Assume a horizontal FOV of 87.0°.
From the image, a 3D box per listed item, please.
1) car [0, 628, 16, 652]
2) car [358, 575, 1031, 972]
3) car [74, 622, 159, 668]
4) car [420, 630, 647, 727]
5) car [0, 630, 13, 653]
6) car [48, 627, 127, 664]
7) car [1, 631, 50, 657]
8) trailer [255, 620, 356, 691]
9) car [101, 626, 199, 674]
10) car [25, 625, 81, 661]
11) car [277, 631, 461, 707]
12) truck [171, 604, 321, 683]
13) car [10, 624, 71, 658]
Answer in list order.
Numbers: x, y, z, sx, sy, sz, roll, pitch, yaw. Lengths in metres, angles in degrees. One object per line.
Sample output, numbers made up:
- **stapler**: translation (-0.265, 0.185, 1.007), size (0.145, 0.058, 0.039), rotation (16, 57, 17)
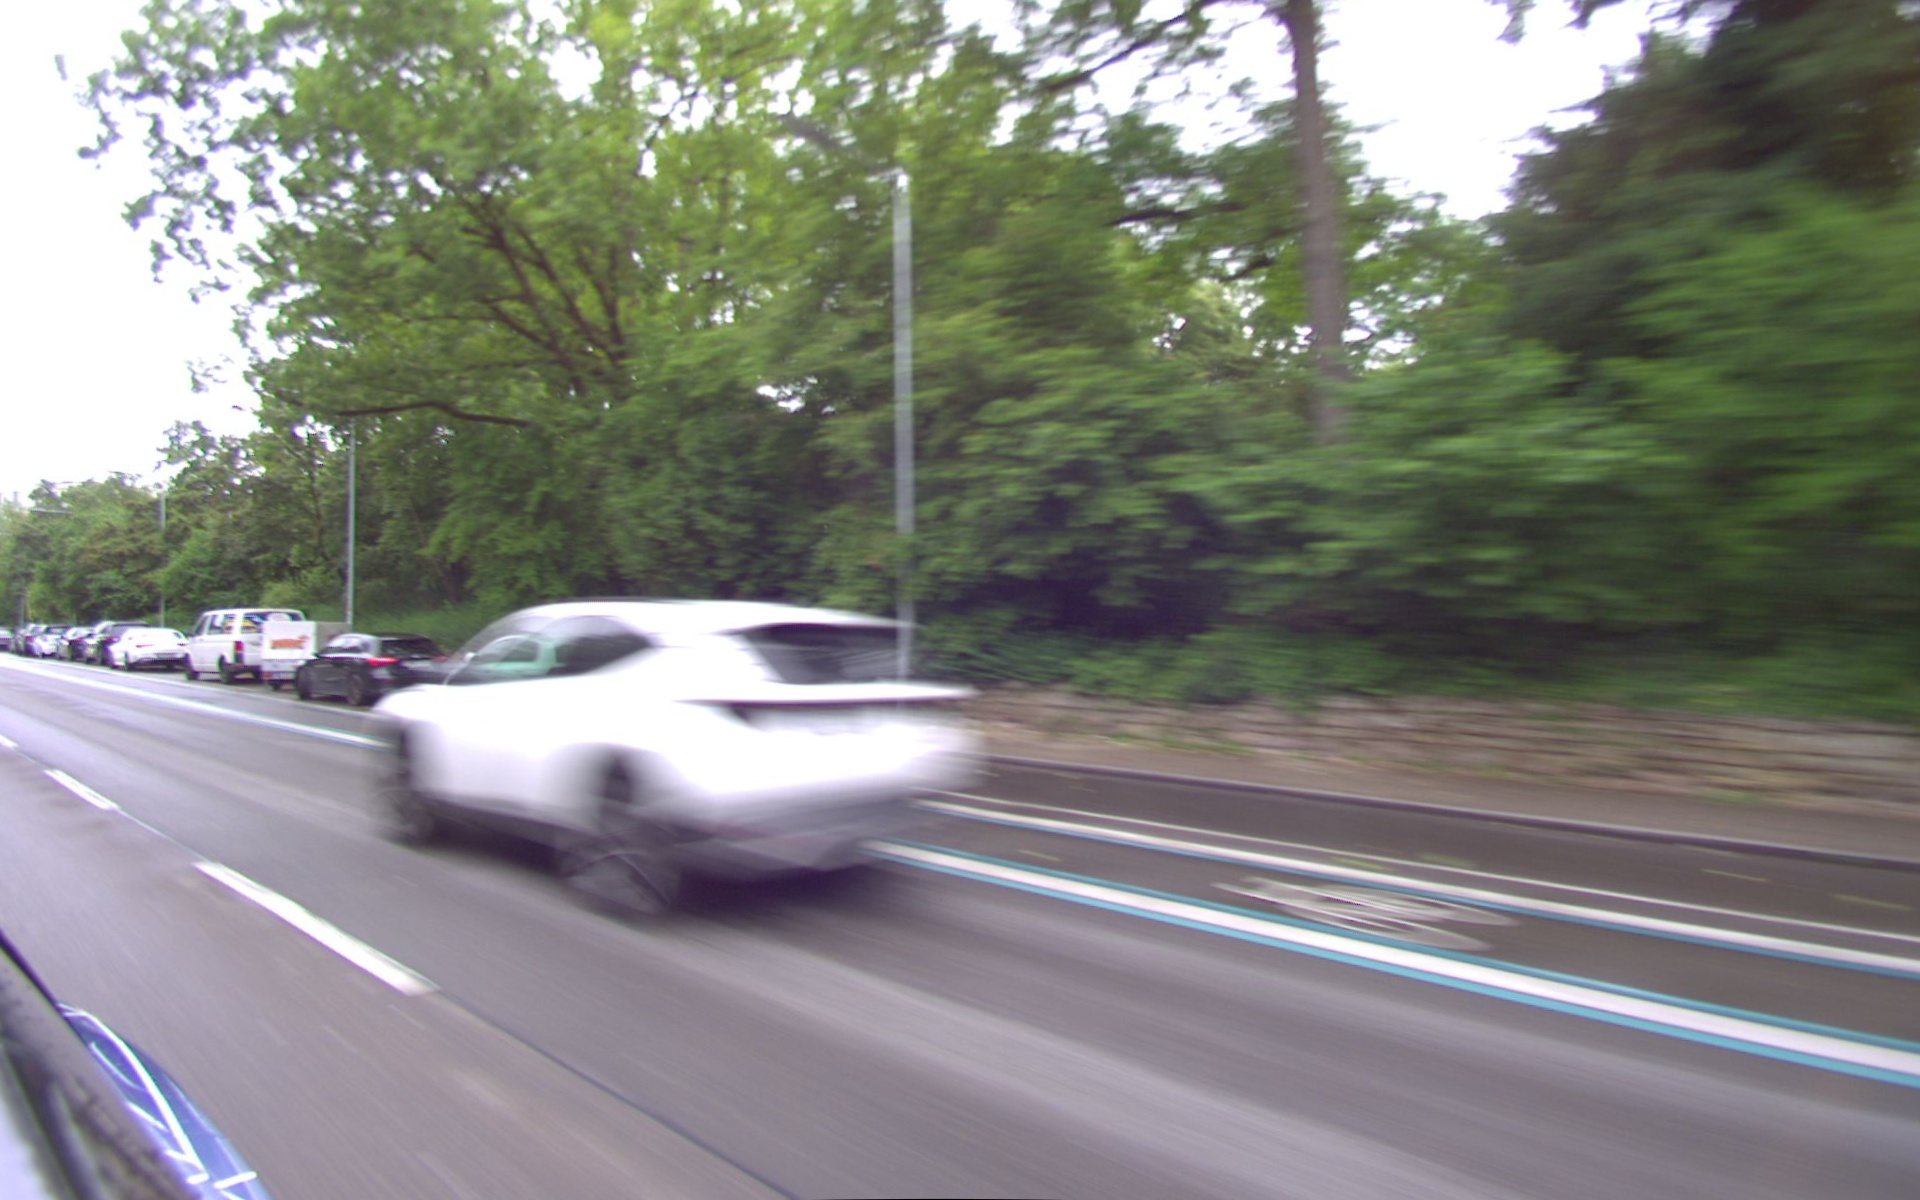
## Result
- **car**: translation (-60.421, 2.511, 63.137), size (3.771, 1.446, 1.802), rotation (-2, -2, 41)
- **car**: translation (-1.910, 0.799, 6.425), size (4.442, 1.651, 1.933), rotation (-1, -4, 41)
- **car**: translation (-32.761, 1.714, 39.254), size (4.669, 1.673, 1.718), rotation (-2, -2, 40)
- **car**: translation (-7.316, 1.245, 17.181), size (4.352, 1.446, 1.737), rotation (-2, -2, 39)
- **car**: translation (-57.182, 2.458, 59.454), size (4.204, 1.303, 1.802), rotation (-2, -2, 41)
- **car**: translation (-37.303, 1.906, 43.233), size (4.550, 1.486, 1.877), rotation (-2, -2, 40)
- **car**: translation (-48.972, 2.263, 53.013), size (3.595, 1.303, 1.494), rotation (-2, -2, 41)
- **trailer**: translation (-16.059, 1.328, 24.930), size (1.329, 1.670, 2.271), rotation (0, -1, -11)
- **car**: translation (-27.942, 1.663, 34.847), size (4.750, 1.509, 1.788), rotation (-1, -2, 41)
- **car**: translation (-41.807, 1.951, 46.654), size (2.858, 1.606, 1.508), rotation (-2, -3, 40)
- **car**: translation (-12.411, 1.360, 21.157), size (4.439, 1.409, 1.804), rotation (-1, -2, 38)
- **truck**: translation (-20.094, 1.171, 28.391), size (5.153, 2.029, 2.073), rotation (-1, -2, 39)
- **car**: translation (-44.995, 2.003, 49.504), size (3.991, 1.600, 1.795), rotation (-2, -2, 42)
